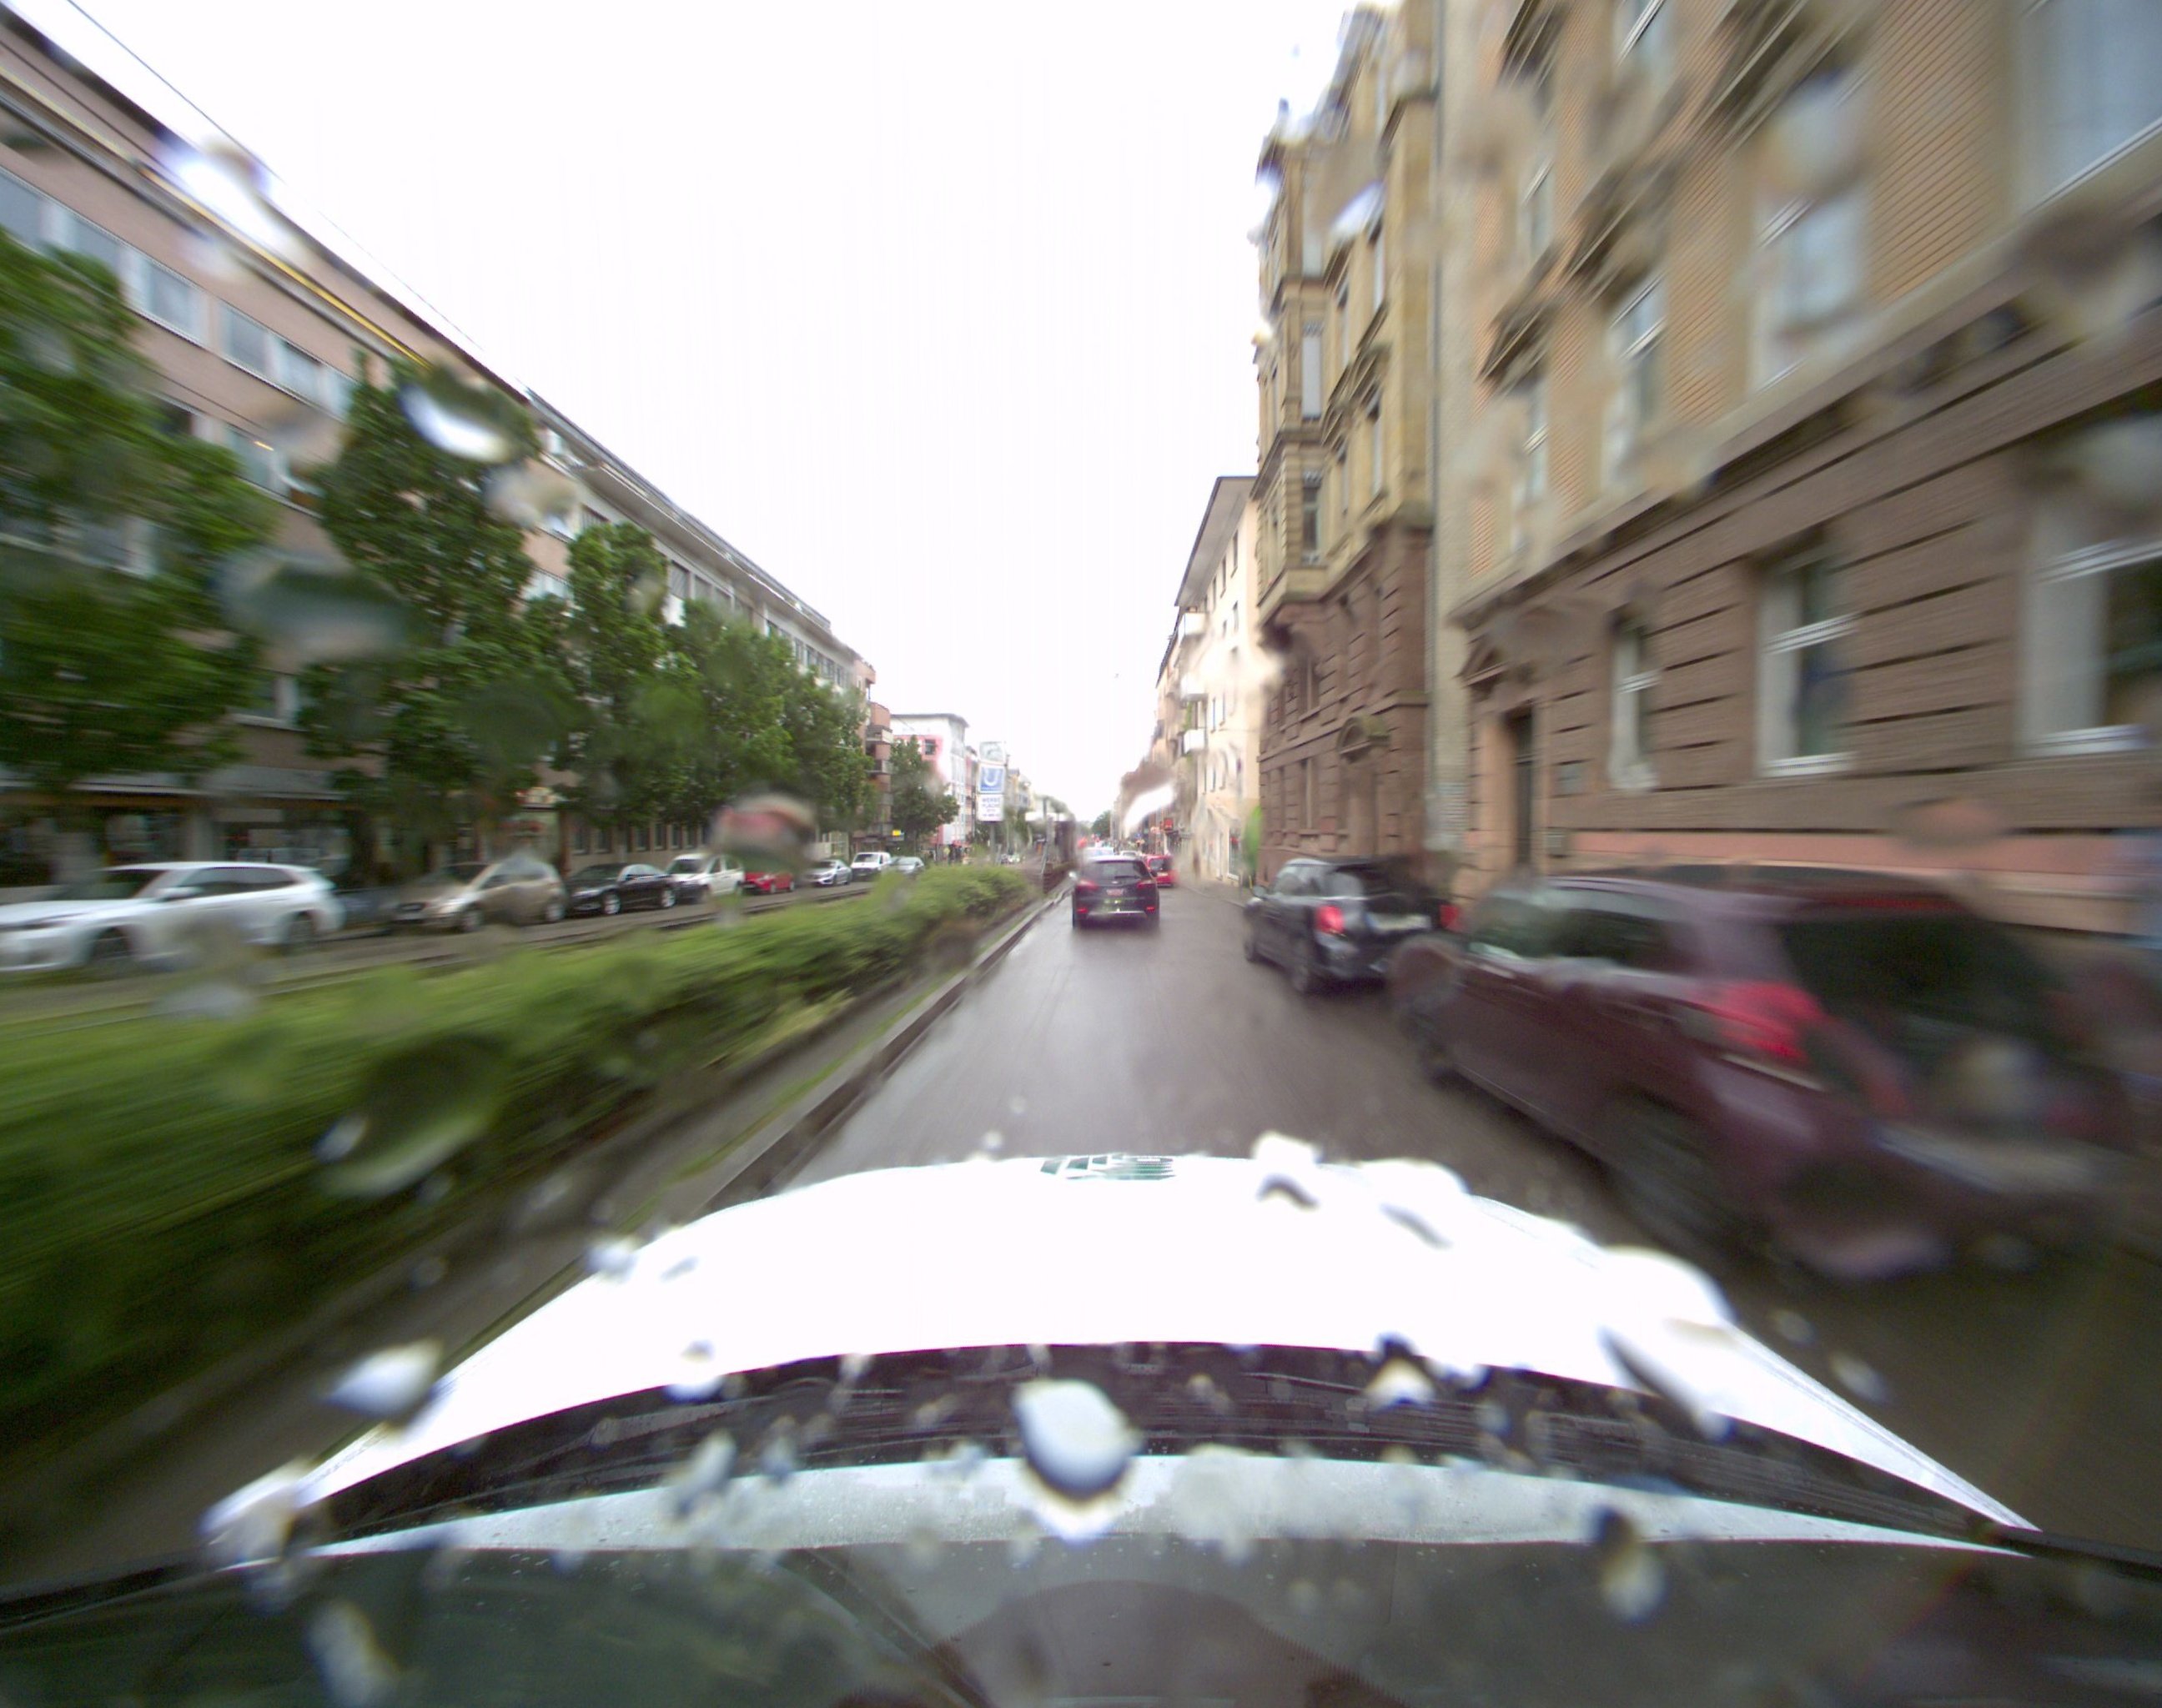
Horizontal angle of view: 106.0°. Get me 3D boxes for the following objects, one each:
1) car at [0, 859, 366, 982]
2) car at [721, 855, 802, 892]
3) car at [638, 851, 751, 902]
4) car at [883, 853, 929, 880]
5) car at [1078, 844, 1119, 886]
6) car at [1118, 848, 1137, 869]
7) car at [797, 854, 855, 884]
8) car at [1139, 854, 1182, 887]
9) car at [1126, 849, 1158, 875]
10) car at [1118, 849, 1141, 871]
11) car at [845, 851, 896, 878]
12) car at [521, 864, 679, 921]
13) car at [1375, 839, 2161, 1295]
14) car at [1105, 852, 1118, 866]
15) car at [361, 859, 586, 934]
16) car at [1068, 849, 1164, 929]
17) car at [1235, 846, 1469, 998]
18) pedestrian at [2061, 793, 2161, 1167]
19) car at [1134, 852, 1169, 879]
[{"bbox_3d":[-14.186,0.887,12.658,1.848,1.549,4.722,0,-1,2],"label":"car"},{"bbox_3d":[-13.937,0.864,35.809,1.848,1.527,4.047,0,-1,1],"label":"car"},{"bbox_3d":[-13.961,0.802,29.742,1.848,1.701,4.432,0,-1,1],"label":"car"},{"bbox_3d":[-10.901,0.773,50.967,1.848,1.637,4.047,0,-1,1],"label":"car"},{"bbox_3d":[0.896,0.515,42.168,1.981,2.060,4.646,-1,1,1],"label":"car"},{"bbox_3d":[4.336,0.431,76.112,1.585,1.781,3.780,2,-2,2],"label":"car"},{"bbox_3d":[-13.442,0.798,43.122,1.661,1.558,4.047,0,-1,1],"label":"car"},{"bbox_3d":[3.629,0.718,37.652,1.664,1.421,3.477,-1,0,1],"label":"car"},{"bbox_3d":[3.906,0.555,52.598,1.851,1.585,3.780,2,-2,2],"label":"car"},{"bbox_3d":[4.195,0.569,70.310,1.832,1.781,3.780,2,-2,2],"label":"car"},{"bbox_3d":[-13.523,0.685,52.584,1.848,1.637,4.936,0,-1,2],"label":"car"},{"bbox_3d":[-13.815,1.061,23.767,1.848,1.418,4.432,-3,-1,1],"label":"car"},{"bbox_3d":[3.001,0.696,4.386,1.643,1.459,3.477,-1,0,1],"label":"car"},{"bbox_3d":[4.696,0.760,125.812,1.986,2.014,4.001,2,-2,2],"label":"car"},{"bbox_3d":[-14.005,0.935,19.174,1.848,1.549,4.432,0,-1,1],"label":"car"},{"bbox_3d":[0.662,0.695,17.812,1.837,1.507,3.998,-1,0,-1],"label":"car"},{"bbox_3d":[3.017,0.674,9.890,1.572,1.459,3.821,-1,0,0],"label":"car"},{"bbox_3d":[4.802,0.522,3.383,0.517,1.579,0.677,-3,-2,1],"label":"pedestrian"},{"bbox_3d":[3.803,0.601,44.193,1.664,1.421,3.477,-1,0,1],"label":"car"}]
